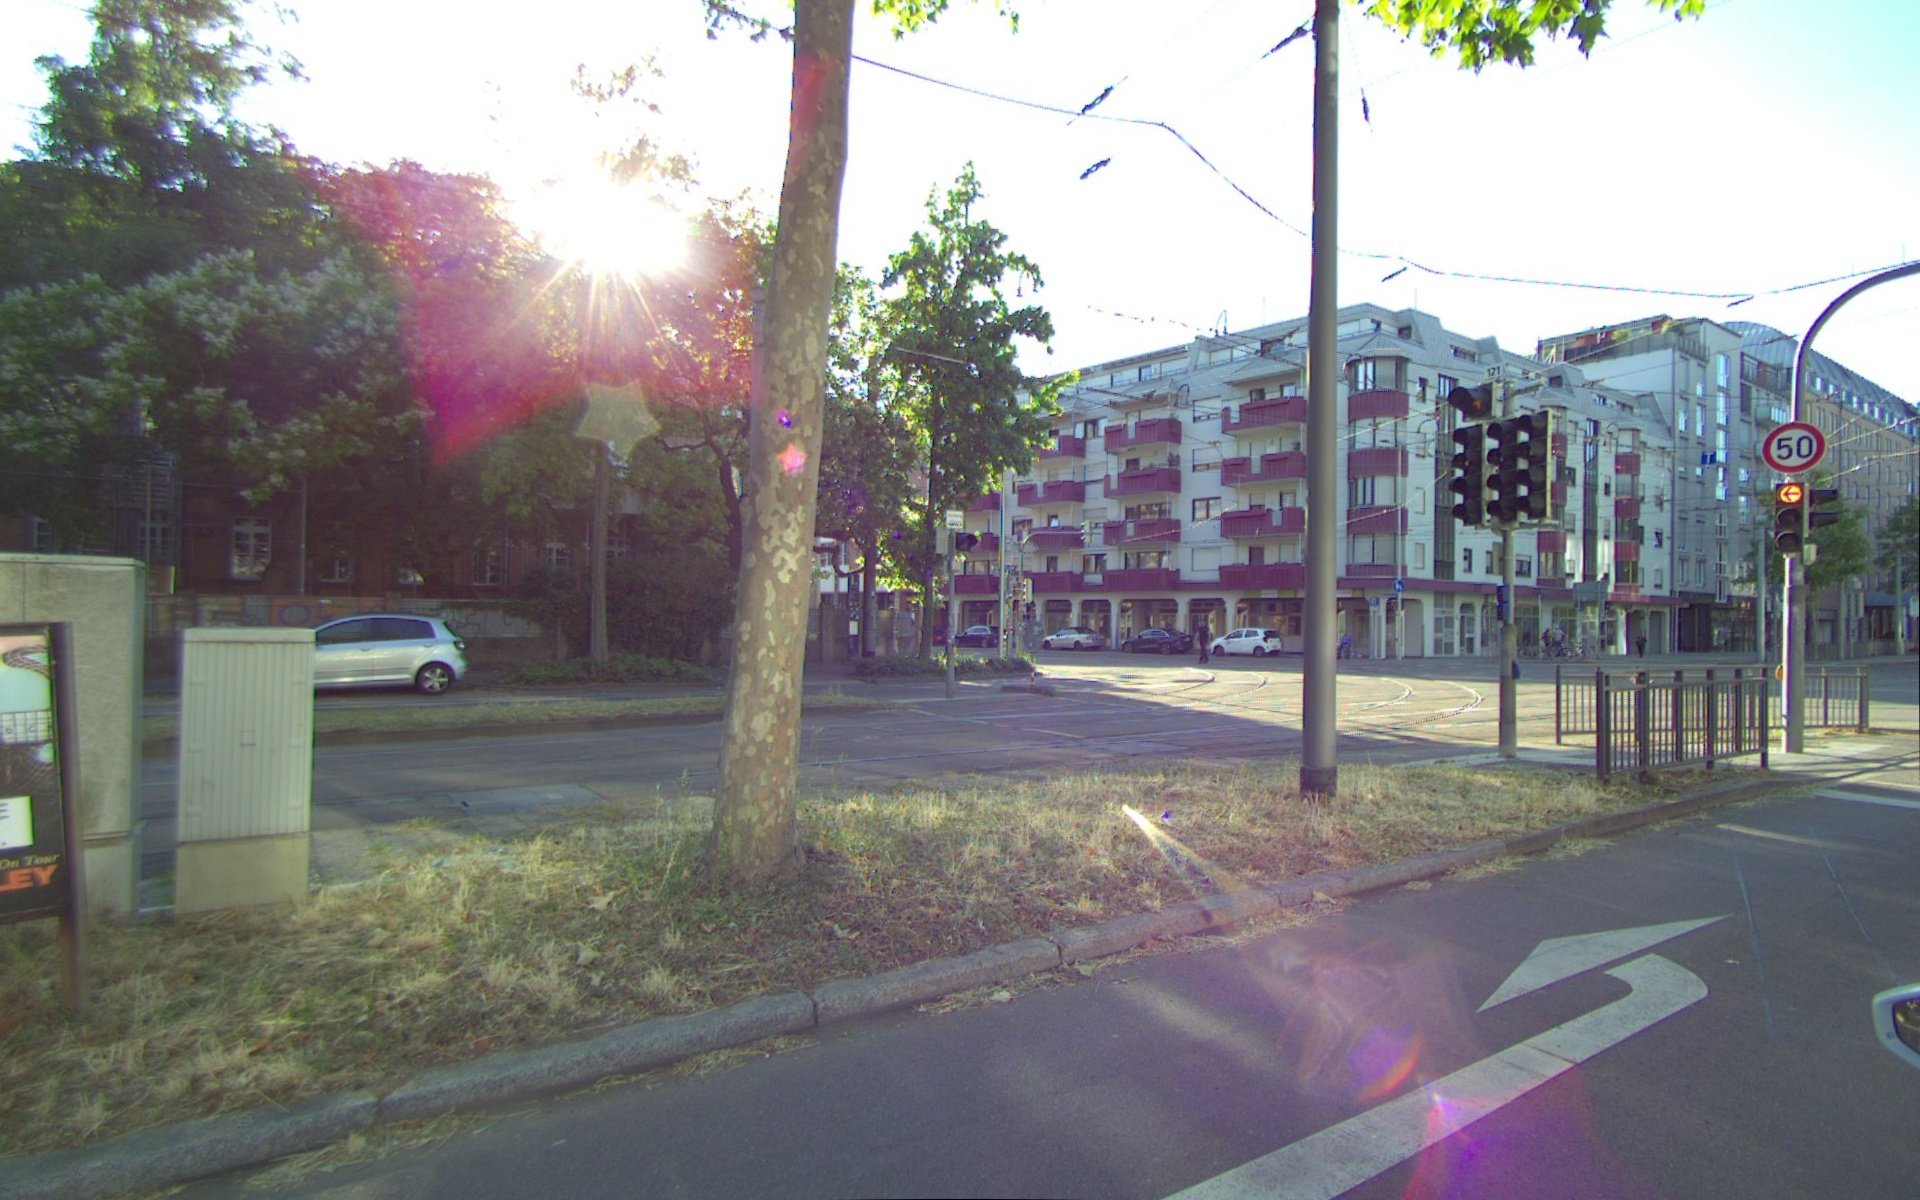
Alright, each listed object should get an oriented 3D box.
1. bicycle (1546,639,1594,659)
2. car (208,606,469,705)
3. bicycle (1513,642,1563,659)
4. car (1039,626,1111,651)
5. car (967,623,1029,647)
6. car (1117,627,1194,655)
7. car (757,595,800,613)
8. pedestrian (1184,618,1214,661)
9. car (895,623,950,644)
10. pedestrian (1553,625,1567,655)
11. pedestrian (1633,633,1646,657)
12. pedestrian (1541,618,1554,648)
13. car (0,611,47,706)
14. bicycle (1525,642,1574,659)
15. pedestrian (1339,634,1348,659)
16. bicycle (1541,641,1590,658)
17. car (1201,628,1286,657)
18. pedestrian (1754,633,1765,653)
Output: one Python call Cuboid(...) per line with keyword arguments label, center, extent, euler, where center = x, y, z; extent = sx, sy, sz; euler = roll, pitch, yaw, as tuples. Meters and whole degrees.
Cuboid(label="bicycle", center=(31.943, 2.566, 52.635), extent=(0.487, 0.963, 2.153), euler=(1, -2, -37))
Cuboid(label="car", center=(-12.000, 1.019, 19.505), extent=(4.140, 1.711, 1.979), euler=(1, -1, -37))
Cuboid(label="bicycle", center=(29.523, 2.562, 51.336), extent=(0.635, 0.797, 2.153), euler=(1, -2, -37))
Cuboid(label="car", center=(6.954, 2.329, 61.131), extent=(1.790, 1.483, 4.215), euler=(2, -2, -44))
Cuboid(label="car", center=(2.484, 2.302, 66.240), extent=(1.790, 1.483, 3.948), euler=(2, -2, -44))
Cuboid(label="car", center=(11.007, 2.286, 56.603), extent=(3.945, 1.483, 1.791), euler=(-2, -2, 44))
Cuboid(label="car", center=(-15.638, 0.385, 86.622), extent=(1.790, 1.483, 3.948), euler=(2, -2, -44))
Cuboid(label="pedestrian", center=(9.528, 1.564, 39.985), extent=(1.025, 1.684, 0.703), euler=(1, -2, -39))
Cuboid(label="car", center=(-2.681, 2.372, 71.827), extent=(1.790, 1.483, 3.948), euler=(2, -2, -44))
Cuboid(label="pedestrian", center=(34.218, 2.286, 57.277), extent=(0.523, 1.721, 0.507), euler=(1, -1, -37))
Cuboid(label="pedestrian", center=(41.053, 2.710, 60.688), extent=(0.524, 1.478, 0.505), euler=(1, -2, -44))
Cuboid(label="pedestrian", center=(33.813, 1.877, 57.801), extent=(0.523, 1.721, 0.507), euler=(1, -1, -37))
Cuboid(label="car", center=(-17.296, 0.893, 15.446), extent=(4.607, 1.495, 1.979), euler=(1, -1, -37))
Cuboid(label="bicycle", center=(30.258, 2.581, 51.547), extent=(0.487, 0.797, 2.153), euler=(1, -2, -37))
Cuboid(label="pedestrian", center=(19.029, 2.286, 49.795), extent=(0.316, 1.230, 0.301), euler=(1, -2, -40))
Cuboid(label="bicycle", center=(31.449, 2.584, 52.228), extent=(0.523, 0.835, 2.153), euler=(1, -2, -37))
Cuboid(label="car", center=(14.862, 2.218, 52.803), extent=(3.946, 1.483, 1.791), euler=(-2, -2, 44))
Cuboid(label="pedestrian", center=(59.837, 3.195, 75.206), extent=(0.523, 1.478, 0.507), euler=(1, -1, -37))
